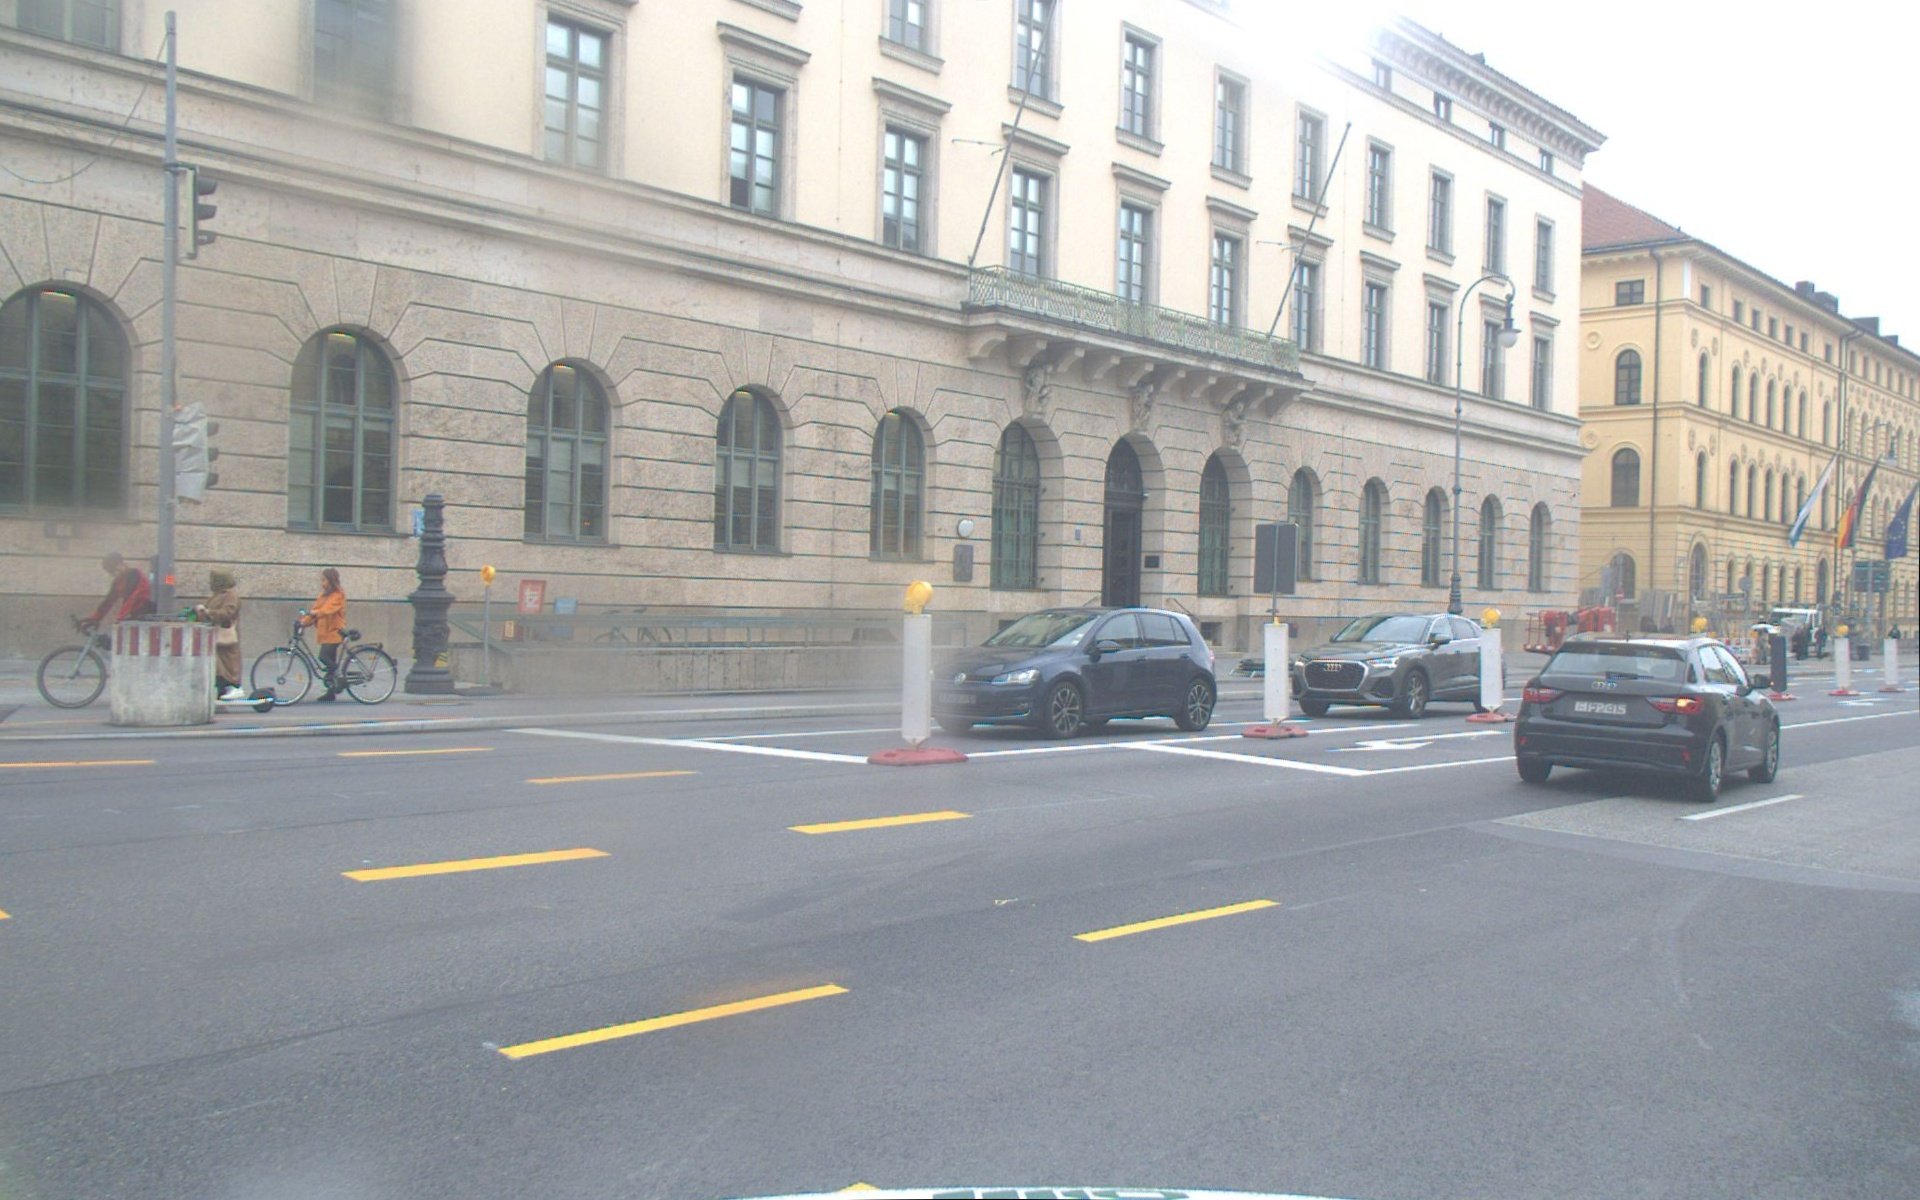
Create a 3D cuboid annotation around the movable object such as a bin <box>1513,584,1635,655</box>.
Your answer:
[{"bbox_3d":[19.863,0.661,53.350,1.490,2.049,5.937,2,-1,43],"label":"movable object such as a bin"}]

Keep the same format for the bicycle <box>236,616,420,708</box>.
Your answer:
[{"bbox_3d":[-7.845,0.782,20.591,0.782,1.058,1.950,2,-1,45],"label":"bicycle"}]

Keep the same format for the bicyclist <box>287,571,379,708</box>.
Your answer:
[{"bbox_3d":[-7.815,0.491,20.617,0.741,1.643,0.782,4,-1,-45],"label":"bicyclist"}]

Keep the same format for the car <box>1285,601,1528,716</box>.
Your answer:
[{"bbox_3d":[6.887,0.881,25.230,1.760,1.594,4.548,-1,-2,42],"label":"car"}]

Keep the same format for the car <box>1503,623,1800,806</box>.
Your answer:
[{"bbox_3d":[6.715,0.990,15.818,1.831,1.412,3.987,3,0,34],"label":"car"}]

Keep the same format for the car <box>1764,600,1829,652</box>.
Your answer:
[{"bbox_3d":[40.472,1.281,80.006,1.714,2.328,3.974,2,-1,43],"label":"car"}]

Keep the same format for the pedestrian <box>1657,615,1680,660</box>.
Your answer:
[{"bbox_3d":[27.148,1.441,63.358,0.602,1.681,0.614,2,-1,39],"label":"pedestrian"}]

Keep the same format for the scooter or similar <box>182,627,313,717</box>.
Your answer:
[{"bbox_3d":[-8.145,0.824,18.927,0.578,0.982,1.206,2,-1,43],"label":"scooter or similar"}]

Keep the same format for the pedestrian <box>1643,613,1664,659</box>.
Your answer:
[{"bbox_3d":[26.706,1.391,63.724,0.544,1.705,0.614,2,-1,39],"label":"pedestrian"}]

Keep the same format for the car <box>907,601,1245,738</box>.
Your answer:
[{"bbox_3d":[1.456,0.799,19.264,1.718,1.413,4.214,0,-2,42],"label":"car"}]

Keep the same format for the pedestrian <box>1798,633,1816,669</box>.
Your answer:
[{"bbox_3d":[37.460,2.268,73.159,0.544,1.557,0.614,2,-1,39],"label":"pedestrian"}]

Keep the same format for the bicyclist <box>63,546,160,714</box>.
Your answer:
[{"bbox_3d":[-9.719,0.345,18.952,0.650,1.874,0.741,2,-2,45],"label":"bicyclist"}]

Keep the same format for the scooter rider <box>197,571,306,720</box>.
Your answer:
[{"bbox_3d":[-8.114,0.518,18.951,0.582,1.651,0.929,2,-1,44],"label":"scooter rider"}]

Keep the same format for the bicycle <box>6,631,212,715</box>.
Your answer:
[{"bbox_3d":[-9.717,0.841,18.945,0.650,0.895,1.964,2,-1,45],"label":"bicycle"}]
